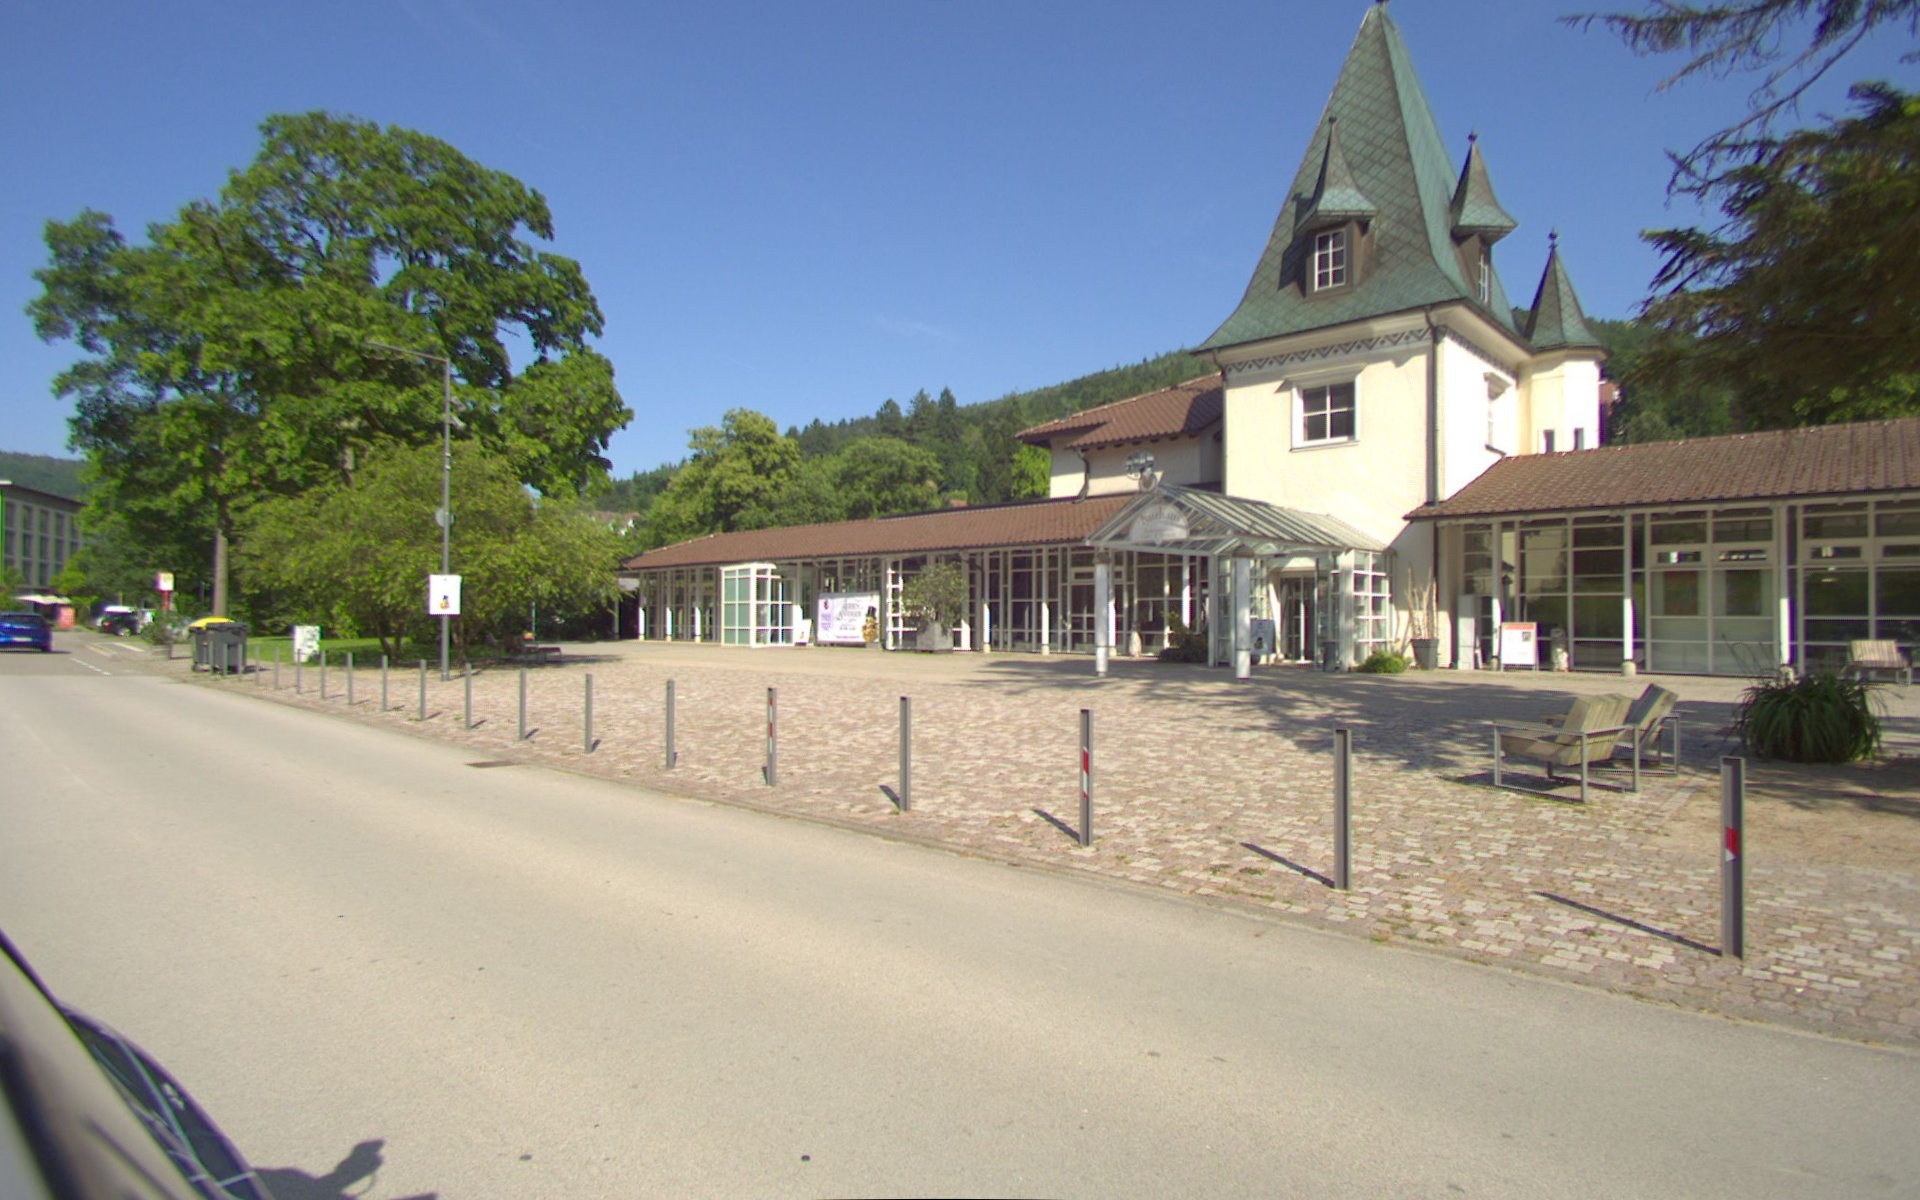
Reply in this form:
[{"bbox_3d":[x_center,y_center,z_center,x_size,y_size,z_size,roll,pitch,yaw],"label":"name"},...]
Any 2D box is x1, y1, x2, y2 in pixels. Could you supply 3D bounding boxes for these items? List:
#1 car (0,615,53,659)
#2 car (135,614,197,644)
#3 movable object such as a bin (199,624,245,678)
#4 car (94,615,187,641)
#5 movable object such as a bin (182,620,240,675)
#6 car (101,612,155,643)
[{"bbox_3d":[-35.224,1.346,37.696,4.187,1.474,1.722,0,-3,43],"label":"car"},{"bbox_3d":[-43.464,1.575,55.485,2.616,1.558,1.686,-1,0,-37],"label":"car"},{"bbox_3d":[-19.209,1.314,26.342,1.295,1.352,0.746,-1,0,44],"label":"movable object such as a bin"},{"bbox_3d":[-50.429,1.724,62.319,1.712,1.442,4.231,-1,0,41],"label":"car"},{"bbox_3d":[-20.590,1.290,27.807,1.377,1.438,1.066,-1,0,44],"label":"movable object such as a bin"},{"bbox_3d":[-79.929,2.581,97.326,1.760,2.812,5.930,-1,0,-15],"label":"car"}]
